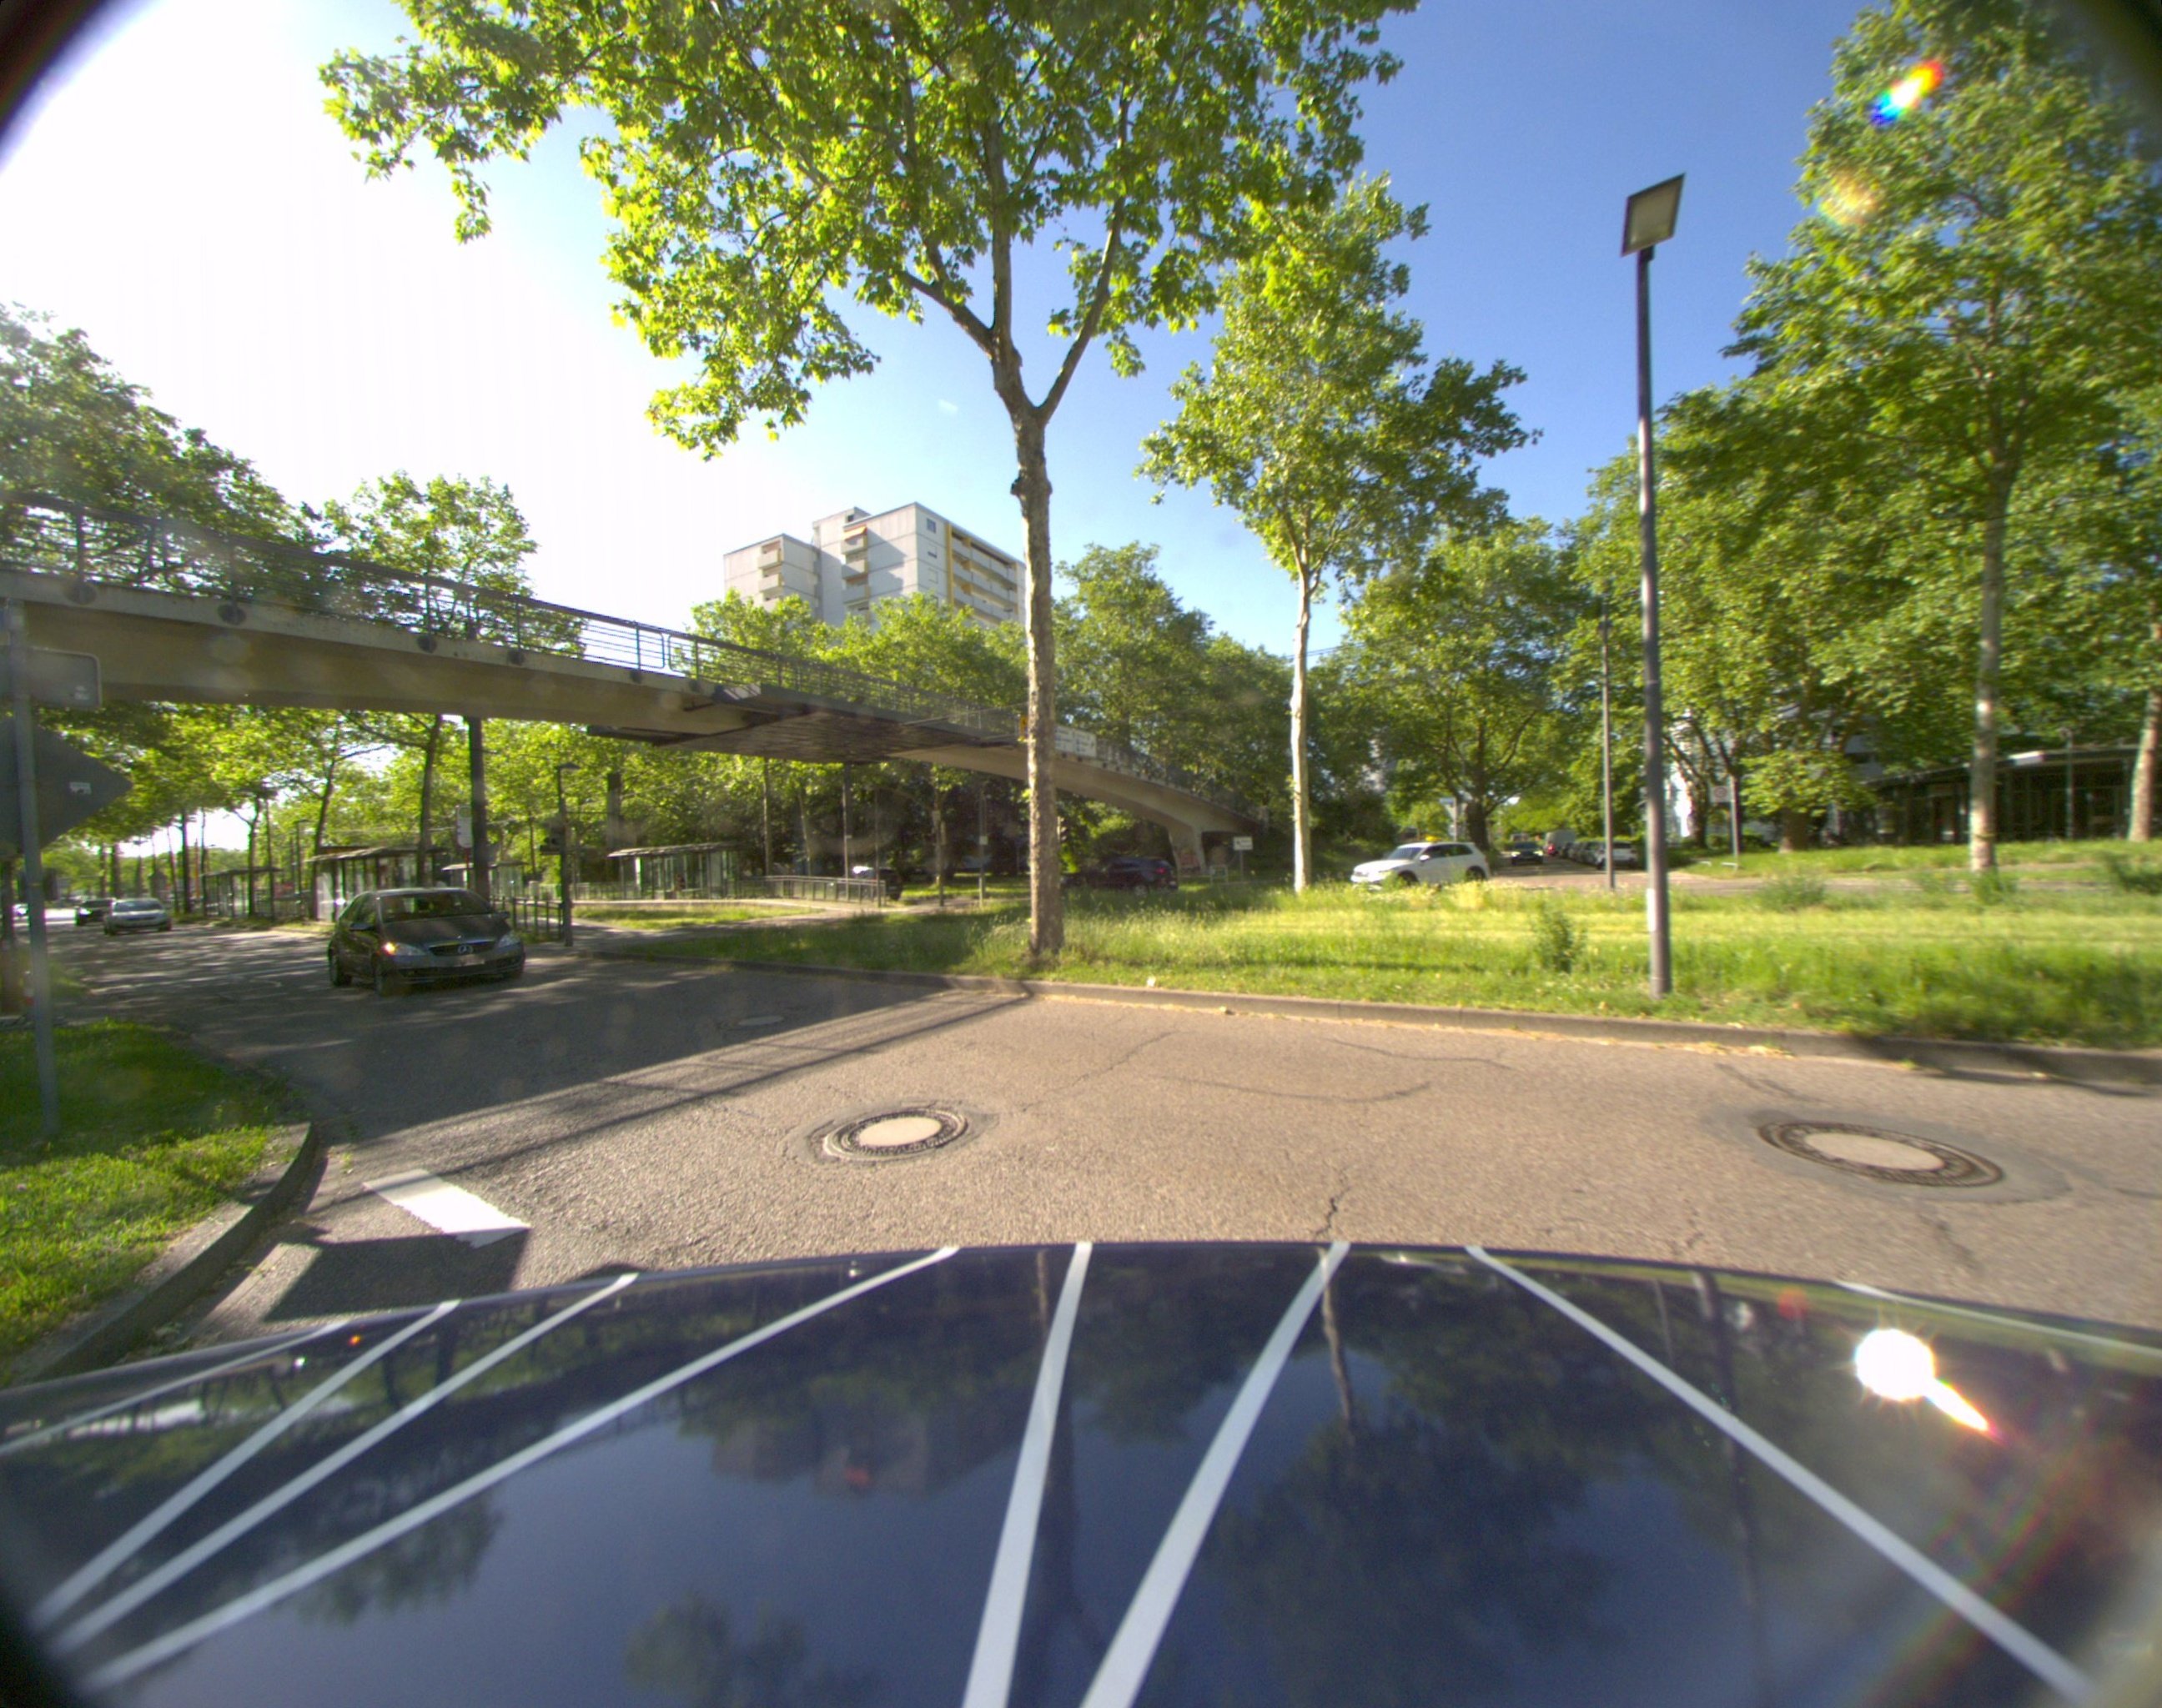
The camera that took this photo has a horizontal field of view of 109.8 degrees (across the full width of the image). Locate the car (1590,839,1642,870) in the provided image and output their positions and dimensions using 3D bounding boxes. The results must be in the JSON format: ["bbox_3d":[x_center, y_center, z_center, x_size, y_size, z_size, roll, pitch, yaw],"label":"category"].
[{"bbox_3d":[27.845,-0.004,39.673,1.795,1.501,4.007,-2,0,29],"label":"car"}]

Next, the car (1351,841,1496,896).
[{"bbox_3d":[10.974,0.442,24.384,4.090,1.501,1.797,-2,0,-19],"label":"car"}]

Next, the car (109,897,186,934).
[{"bbox_3d":[-43.528,2.826,35.410,3.989,1.529,1.804,-3,-1,33],"label":"car"}]

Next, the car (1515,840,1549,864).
[{"bbox_3d":[30.477,-0.140,51.423,1.795,1.501,4.007,-2,0,29],"label":"car"}]

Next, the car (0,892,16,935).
[{"bbox_3d":[-53.059,2.850,34.886,2.017,2.040,4.589,-1,-2,-5],"label":"car"}]

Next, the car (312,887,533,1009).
[{"bbox_3d":[-10.901,1.420,12.524,3.753,1.580,1.803,-2,1,35],"label":"car"}]

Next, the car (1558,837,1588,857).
[{"bbox_3d":[41.016,-0.594,63.455,1.795,1.501,4.007,-2,0,29],"label":"car"}]

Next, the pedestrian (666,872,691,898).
[{"bbox_3d":[-19.768,1.534,37.287,0.720,1.230,0.782,-2,1,34],"label":"pedestrian"}]

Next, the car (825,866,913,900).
[{"bbox_3d":[-10.462,1.433,37.424,4.276,1.557,1.803,-2,0,34],"label":"car"}]

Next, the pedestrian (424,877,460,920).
[{"bbox_3d":[-22.237,1.548,26.452,0.680,1.409,0.728,-2,2,35],"label":"pedestrian"}]

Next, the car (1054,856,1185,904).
[{"bbox_3d":[1.363,0.949,27.375,4.277,1.557,1.803,-2,0,28],"label":"car"}]

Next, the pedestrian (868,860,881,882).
[{"bbox_3d":[-15.359,1.263,56.504,0.648,1.652,0.651,-2,1,36],"label":"pedestrian"}]

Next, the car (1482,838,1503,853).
[{"bbox_3d":[43.066,-0.881,79.468,1.795,1.501,4.007,-2,0,29],"label":"car"}]

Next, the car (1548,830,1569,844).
[{"bbox_3d":[55.956,-1.959,89.052,1.860,1.501,4.007,-2,0,29],"label":"car"}]

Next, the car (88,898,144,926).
[{"bbox_3d":[-61.432,3.680,48.358,3.989,1.502,1.803,-3,2,34],"label":"car"}]

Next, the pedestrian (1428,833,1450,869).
[{"bbox_3d":[17.872,-0.146,37.923,0.651,1.773,0.649,-3,1,-26],"label":"pedestrian"}]

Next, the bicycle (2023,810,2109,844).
[{"bbox_3d":[35.072,-0.958,27.087,1.796,1.101,0.557,-2,1,26],"label":"bicycle"}]

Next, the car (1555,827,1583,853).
[{"bbox_3d":[49.011,-1.404,76.395,2.057,2.422,5.017,-2,0,29],"label":"car"}]
